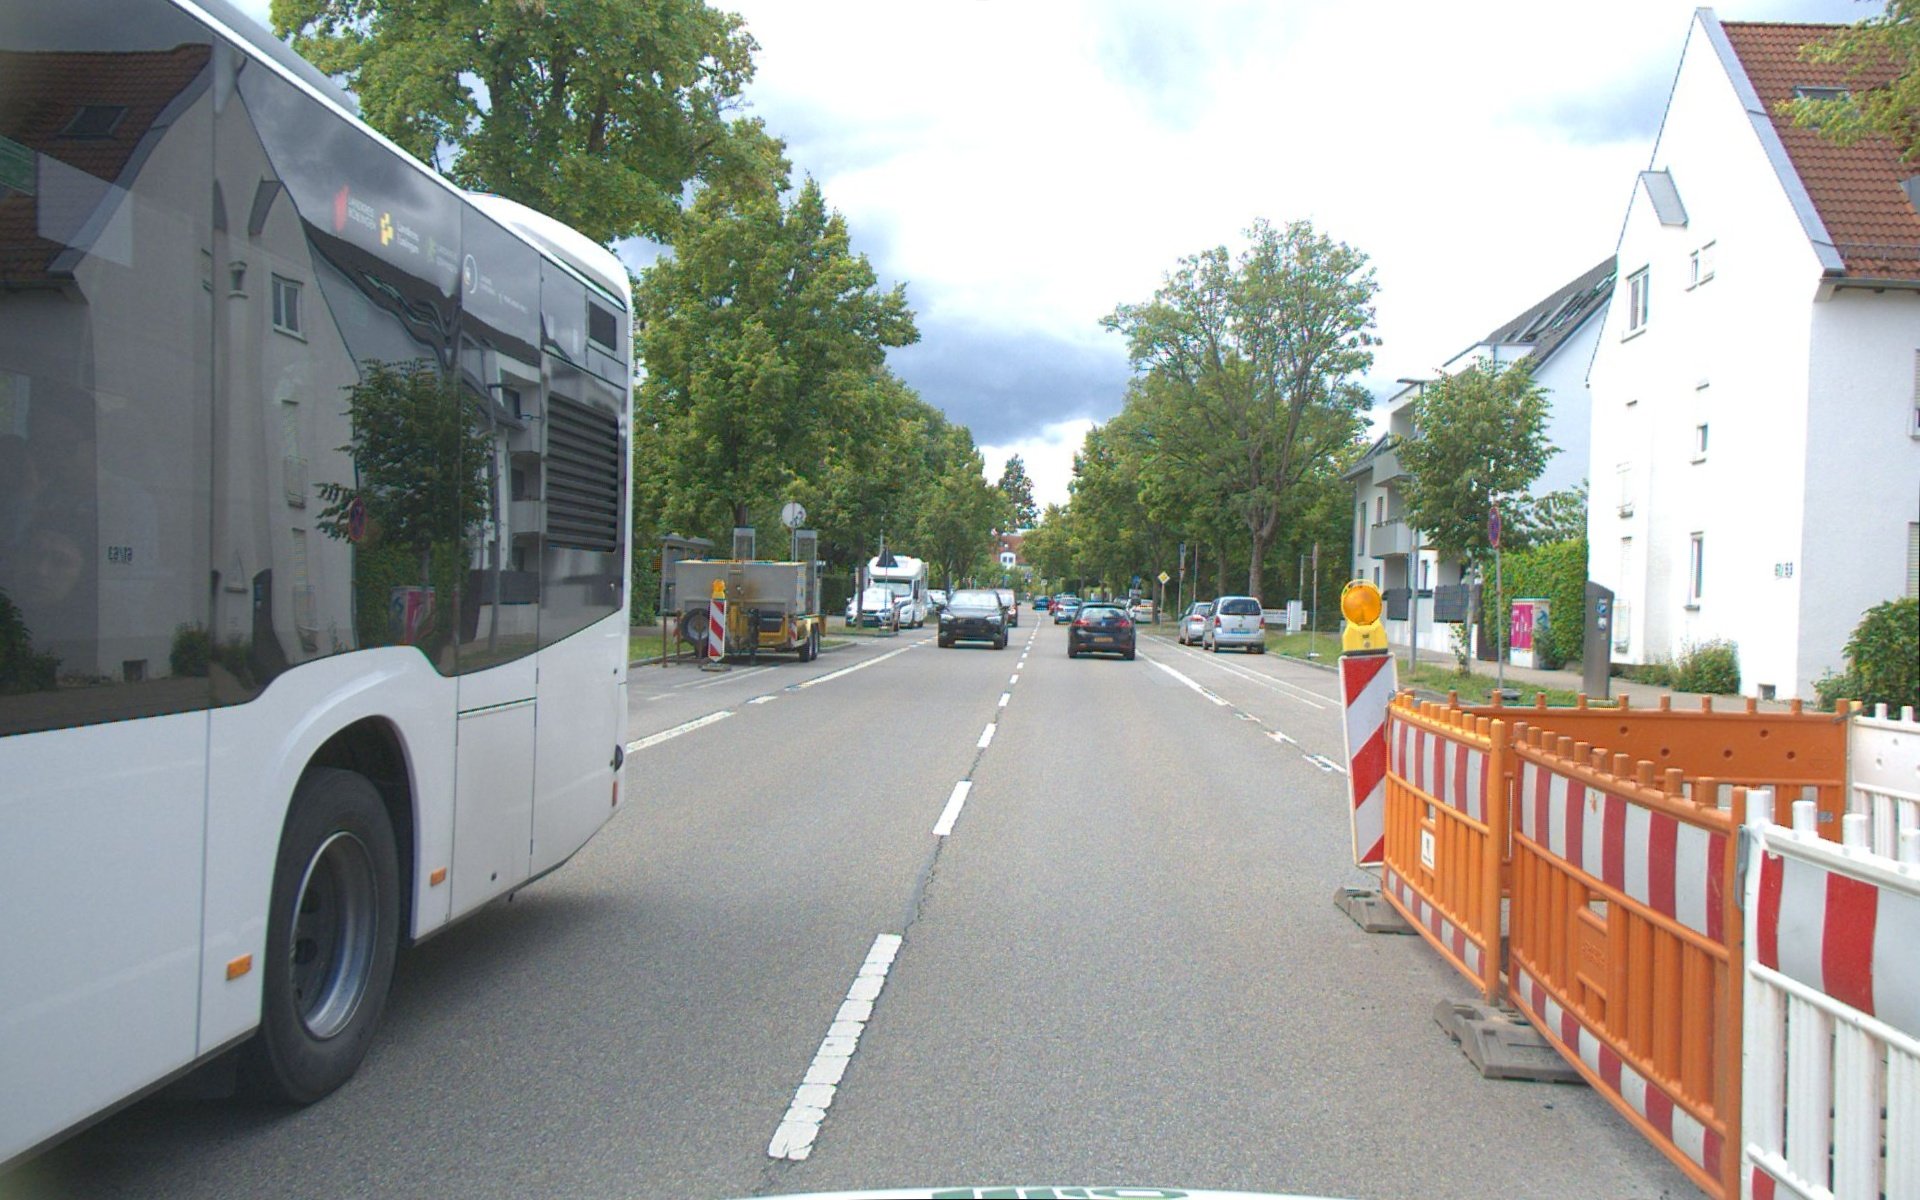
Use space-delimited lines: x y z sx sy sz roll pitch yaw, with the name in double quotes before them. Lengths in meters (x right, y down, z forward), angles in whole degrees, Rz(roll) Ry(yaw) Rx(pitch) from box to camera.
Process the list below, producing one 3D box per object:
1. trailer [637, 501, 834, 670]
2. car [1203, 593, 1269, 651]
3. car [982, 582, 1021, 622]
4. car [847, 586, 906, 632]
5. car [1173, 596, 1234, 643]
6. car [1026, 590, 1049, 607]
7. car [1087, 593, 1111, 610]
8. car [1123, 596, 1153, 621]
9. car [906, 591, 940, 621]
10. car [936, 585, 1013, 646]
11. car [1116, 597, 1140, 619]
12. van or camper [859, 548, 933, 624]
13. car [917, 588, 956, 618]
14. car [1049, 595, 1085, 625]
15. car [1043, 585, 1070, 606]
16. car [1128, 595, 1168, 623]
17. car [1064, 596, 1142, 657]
"trailer" -4.403 -0.233 34.060 2.618 2.992 7.477 2 0 2
"car" 8.512 0.642 51.275 1.598 1.694 3.649 2 0 3
"car" 2.054 0.092 80.907 1.723 1.834 4.771 2 0 3
"car" -3.115 0.327 62.595 1.686 1.628 4.274 2 0 4
"car" 8.350 0.640 57.003 1.652 1.519 4.229 1 0 3
"car" 7.566 -0.168 161.755 1.953 1.534 3.998 2 0 -2
"car" 12.605 0.150 150.130 1.649 1.457 4.043 2 0 -2
"car" 11.084 0.545 103.221 1.582 1.485 3.658 1 0 3
"car" -1.928 0.284 87.602 1.523 1.496 4.453 2 0 2
"car" 0.487 0.440 48.777 1.951 1.697 4.592 0 0 5
"car" 11.679 0.537 115.108 1.603 1.445 4.002 1 0 5
"van or camper" -2.674 -0.593 71.600 2.384 3.062 7.696 2 0 3
"car" -1.340 0.151 97.405 1.779 1.681 4.702 2 0 5
"car" 5.952 0.526 91.930 1.952 1.585 4.002 2 1 4
"car" 7.472 -0.319 128.198 1.952 1.557 4.001 2 0 1
"car" 10.760 0.486 94.816 1.978 1.468 5.027 2 0 3
"car" 3.707 0.671 43.287 1.746 1.474 3.558 2 0 1
